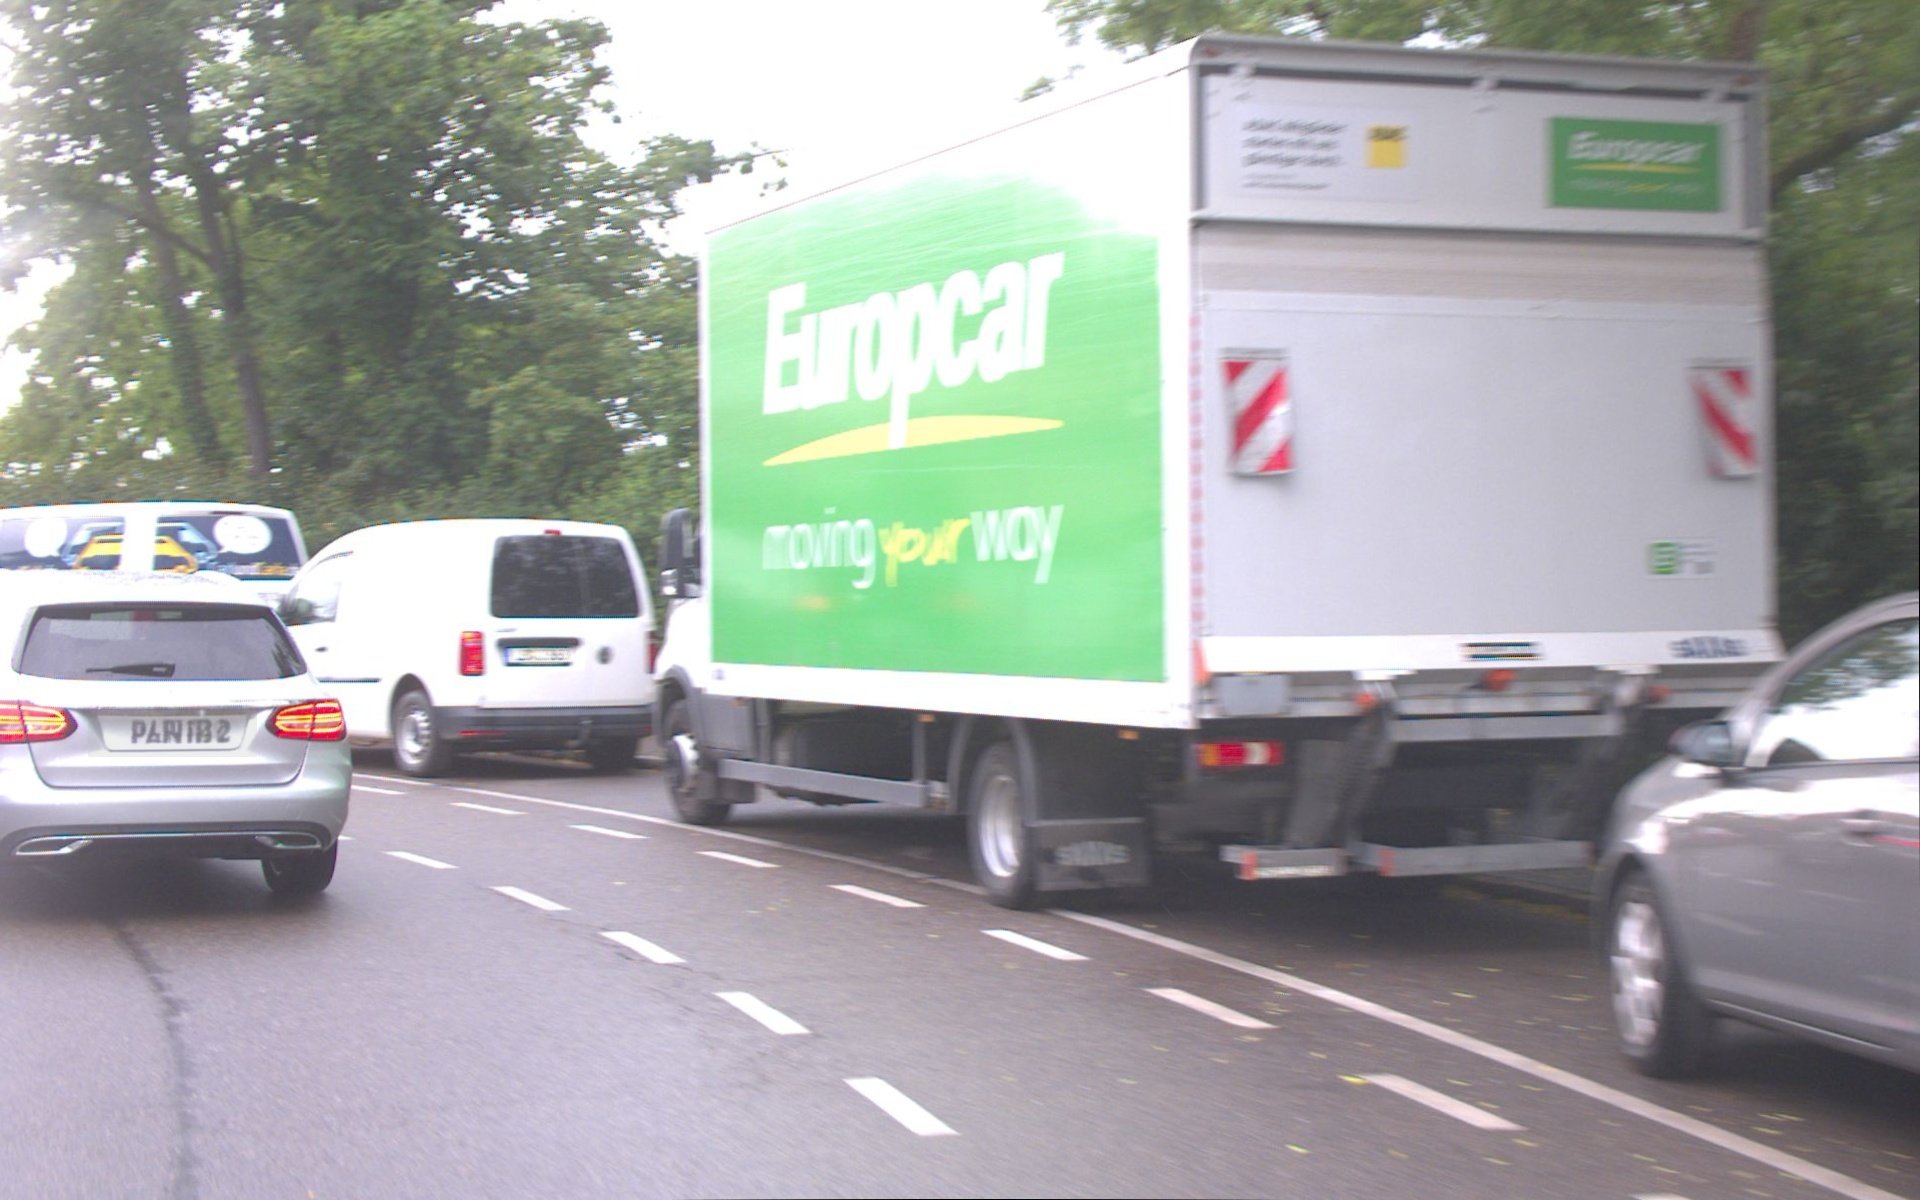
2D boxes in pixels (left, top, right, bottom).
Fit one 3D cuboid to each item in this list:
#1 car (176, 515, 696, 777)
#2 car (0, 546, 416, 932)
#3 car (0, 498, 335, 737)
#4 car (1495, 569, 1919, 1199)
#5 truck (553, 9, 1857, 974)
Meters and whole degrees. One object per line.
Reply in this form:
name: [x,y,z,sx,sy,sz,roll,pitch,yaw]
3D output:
car: [-3.966,0.280,25.474,1.860,1.764,4.377,0,1,-38]
car: [-4.071,0.533,16.024,1.982,1.548,4.299,0,1,-24]
car: [-7.740,0.102,30.136,4.804,1.941,1.861,1,1,42]
car: [2.961,0.688,9.179,1.733,1.498,4.137,-1,1,-11]
truck: [0.526,-0.479,16.978,2.773,3.459,8.936,-1,1,-22]
